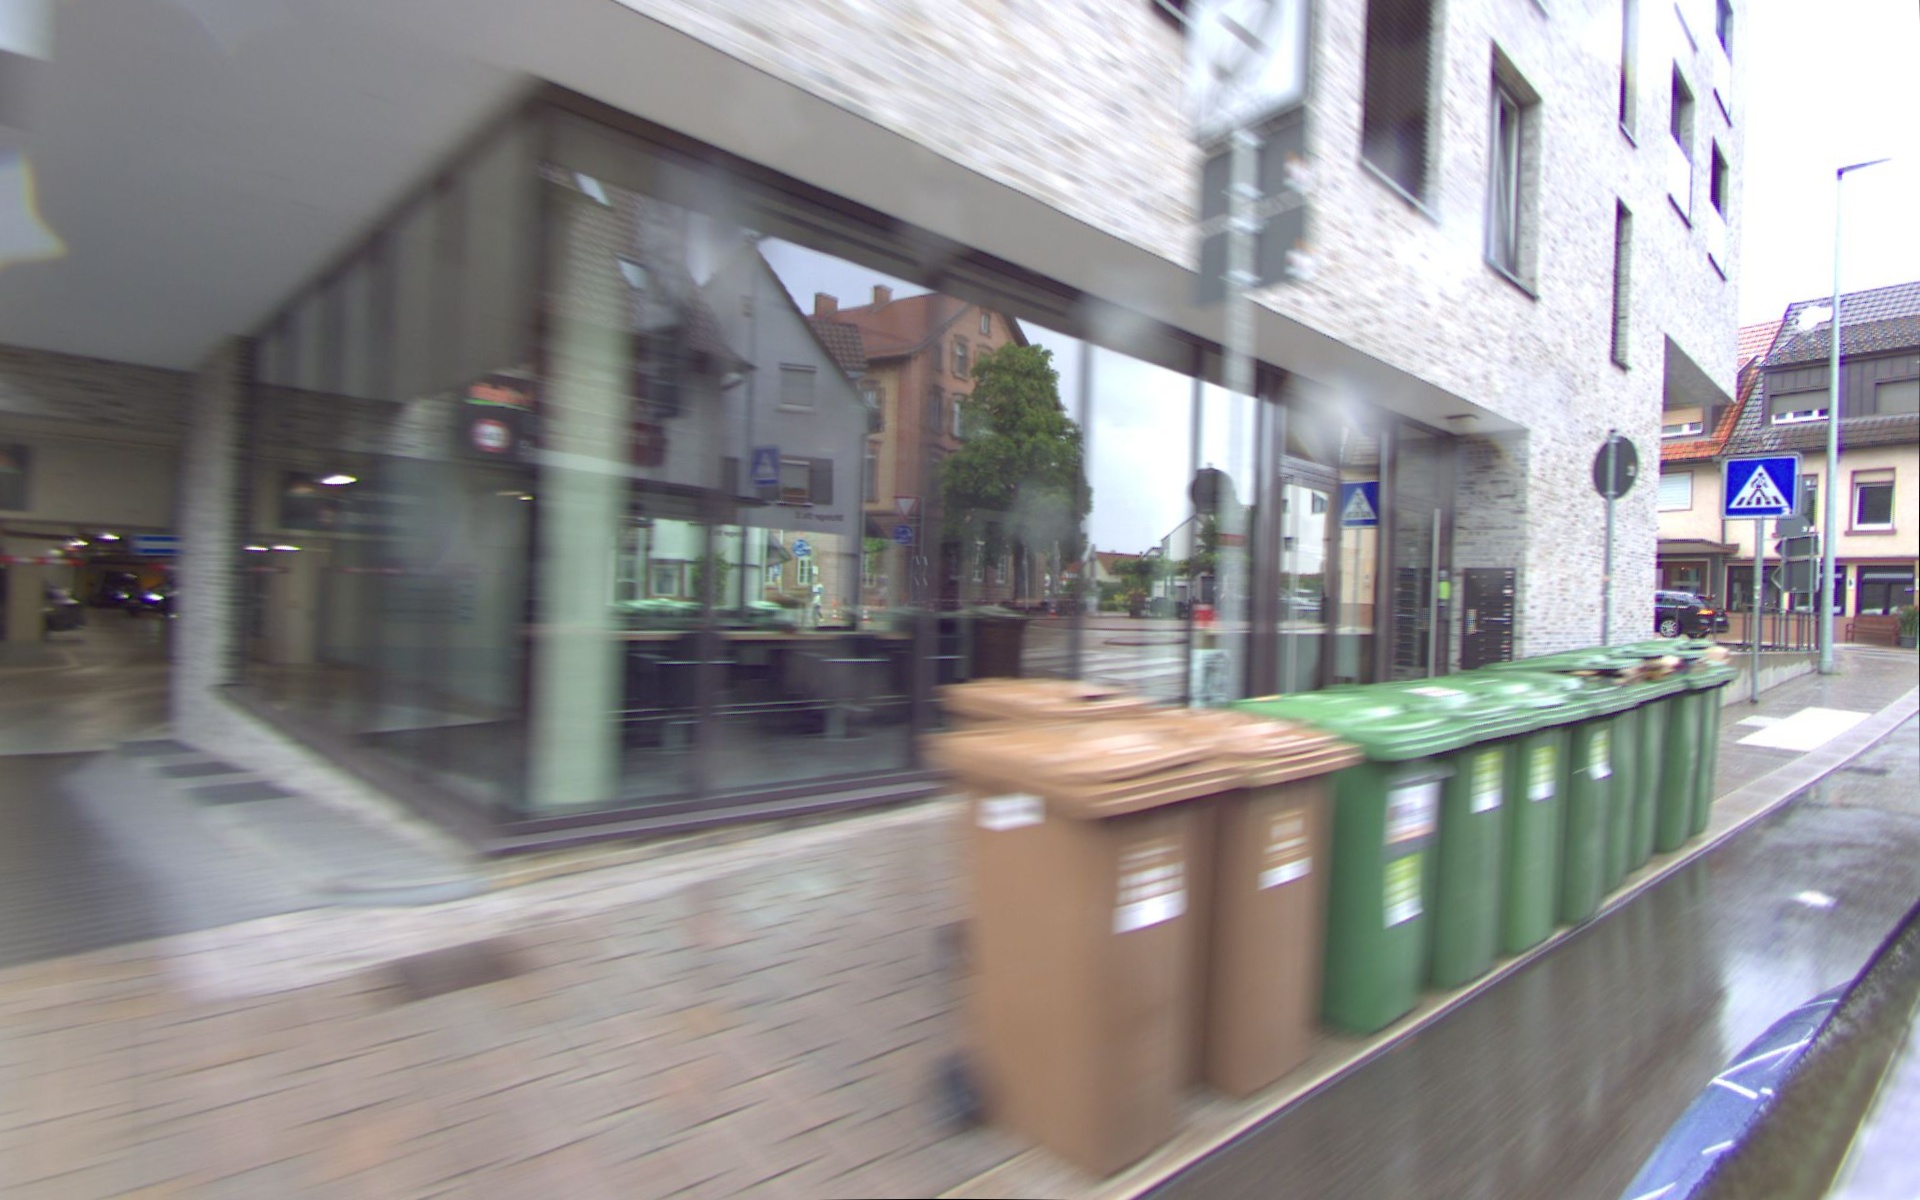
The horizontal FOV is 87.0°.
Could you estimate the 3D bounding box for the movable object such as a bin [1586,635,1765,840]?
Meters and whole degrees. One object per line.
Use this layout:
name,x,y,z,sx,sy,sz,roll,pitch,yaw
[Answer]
movable object such as a bin,4.461,0.812,6.320,0.646,1.108,0.741,0,2,-41

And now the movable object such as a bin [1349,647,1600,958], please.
movable object such as a bin,2.200,0.801,4.357,0.571,1.108,0.767,0,2,-41

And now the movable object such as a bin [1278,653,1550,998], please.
movable object such as a bin,1.764,0.805,3.969,0.571,1.108,0.767,0,2,-41

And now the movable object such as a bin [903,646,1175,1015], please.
movable object such as a bin,0.279,0.768,3.750,0.616,1.108,0.767,0,2,-41

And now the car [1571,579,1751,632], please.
car,22.514,0.140,32.710,1.637,1.448,4.475,3,1,-29

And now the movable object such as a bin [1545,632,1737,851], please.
movable object such as a bin,3.971,0.777,5.915,0.571,1.108,0.767,0,2,-41

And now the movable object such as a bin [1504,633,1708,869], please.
movable object such as a bin,3.519,0.772,5.530,0.571,1.108,0.767,0,2,-41

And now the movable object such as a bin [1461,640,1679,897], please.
movable object such as a bin,3.089,0.797,5.146,0.571,1.108,0.767,0,2,-41

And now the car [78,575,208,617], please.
car,-35.125,-0.209,43.627,1.869,1.637,3.973,4,3,21

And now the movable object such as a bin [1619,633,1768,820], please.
movable object such as a bin,4.896,0.805,6.763,0.541,1.108,0.664,0,2,-42

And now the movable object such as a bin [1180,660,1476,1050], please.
movable object such as a bin,1.287,0.814,3.589,0.571,1.108,0.767,0,2,-41

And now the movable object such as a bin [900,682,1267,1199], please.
movable object such as a bin,0.312,0.835,2.731,0.571,1.108,0.767,0,2,-41

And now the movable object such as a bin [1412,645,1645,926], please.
movable object such as a bin,2.654,0.805,4.747,0.571,1.108,0.767,0,2,-41

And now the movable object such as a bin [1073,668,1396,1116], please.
movable object such as a bin,0.850,0.821,3.204,0.571,1.108,0.767,0,2,-41
